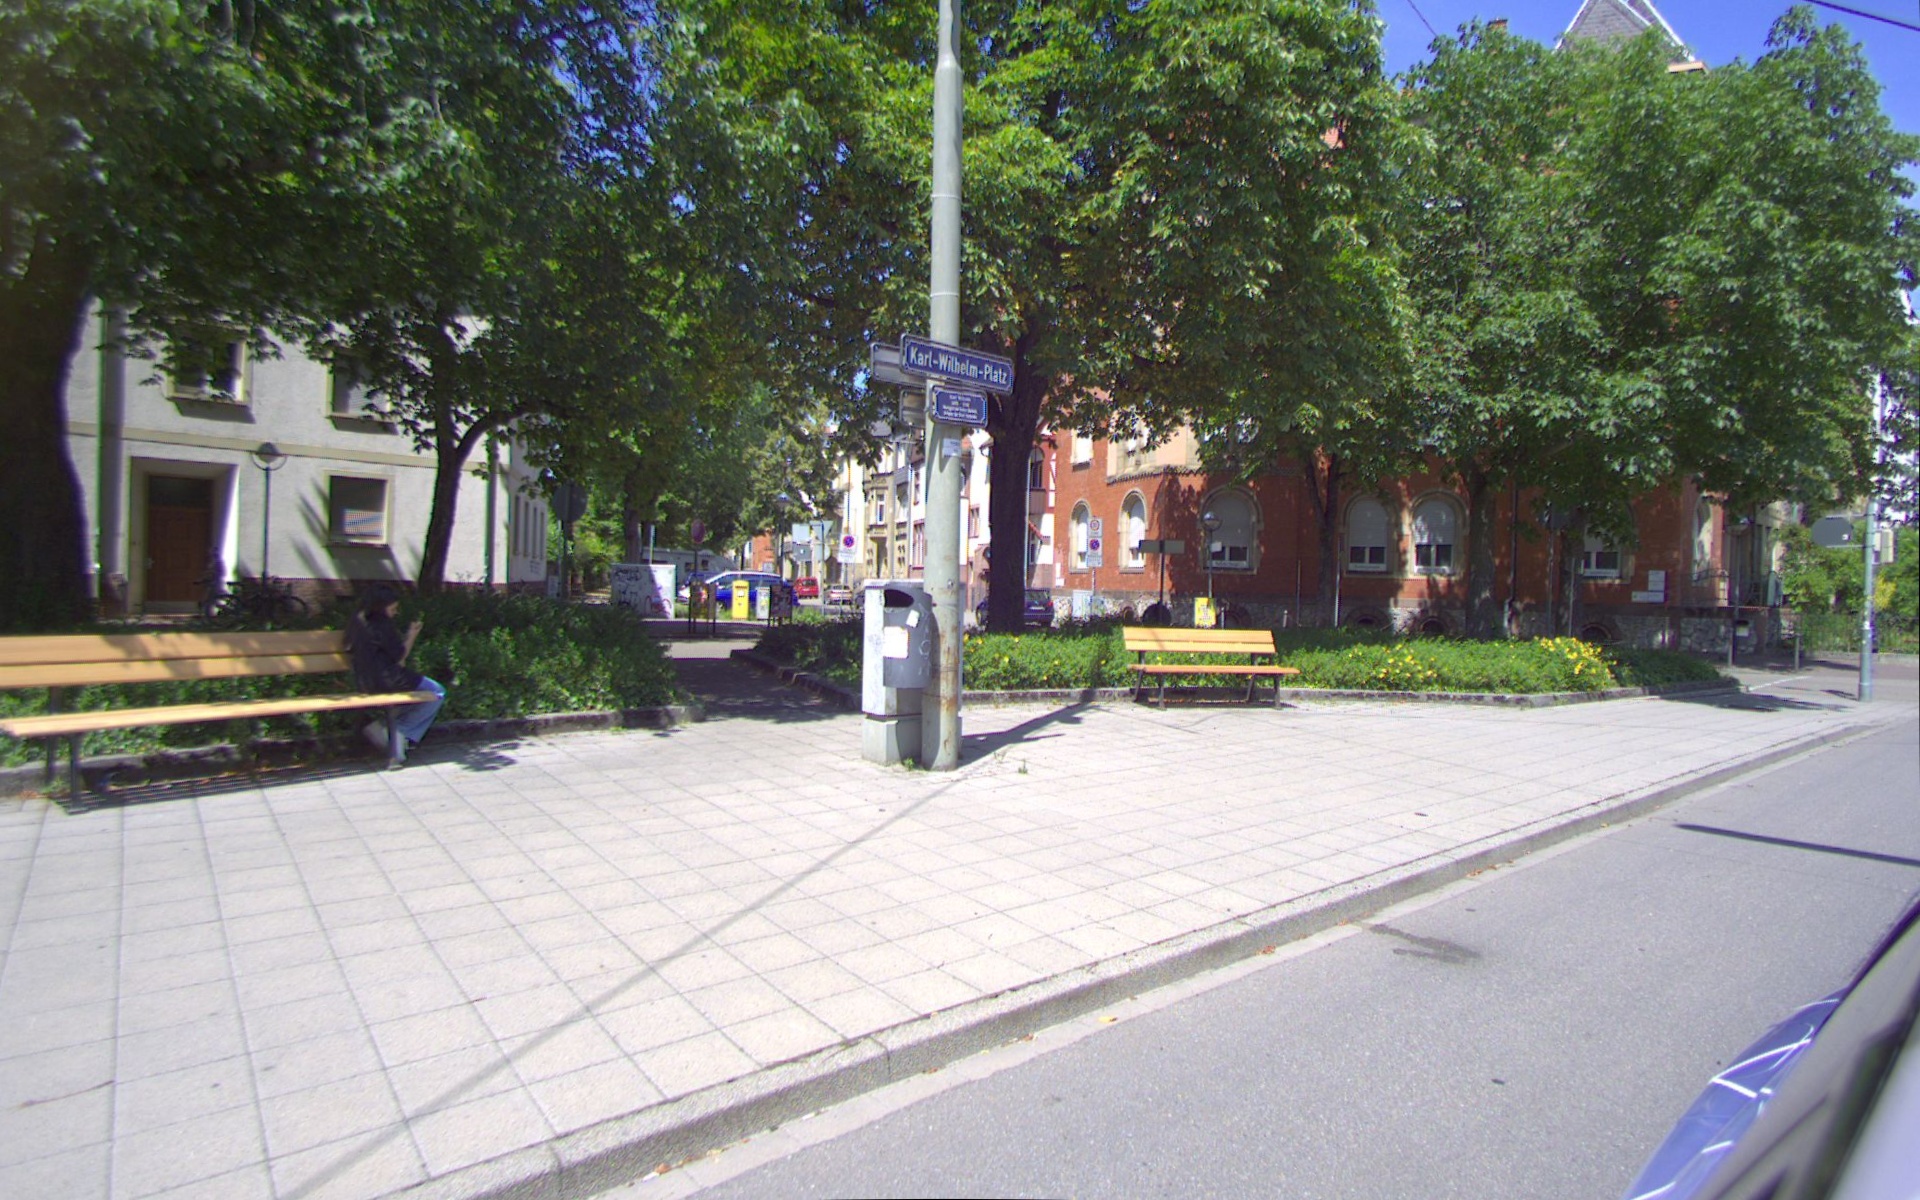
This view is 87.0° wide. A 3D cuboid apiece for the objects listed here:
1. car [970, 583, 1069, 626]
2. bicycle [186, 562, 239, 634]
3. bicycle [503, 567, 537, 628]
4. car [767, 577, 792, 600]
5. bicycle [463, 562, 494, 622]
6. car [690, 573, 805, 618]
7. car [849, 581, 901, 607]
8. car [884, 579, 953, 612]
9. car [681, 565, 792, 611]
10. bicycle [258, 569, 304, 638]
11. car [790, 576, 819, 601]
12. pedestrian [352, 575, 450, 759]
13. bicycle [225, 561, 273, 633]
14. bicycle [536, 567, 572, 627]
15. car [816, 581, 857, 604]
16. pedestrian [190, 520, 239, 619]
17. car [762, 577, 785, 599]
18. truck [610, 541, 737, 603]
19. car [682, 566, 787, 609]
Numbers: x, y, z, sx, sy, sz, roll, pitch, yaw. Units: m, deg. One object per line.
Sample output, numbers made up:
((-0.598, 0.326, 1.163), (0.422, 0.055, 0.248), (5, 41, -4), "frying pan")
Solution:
((2.118, 0.120, 37.412), (1.865, 1.459, 4.769), (0, 1, -21), "car")
((-14.881, -0.061, 20.188), (0.505, 1.361, 2.332), (0, 1, -28), "bicycle")
((-10.090, -0.074, 23.155), (0.536, 1.316, 2.162), (0, 1, -28), "bicycle")
((-16.111, -1.032, 90.178), (1.705, 2.039, 4.009), (0, 1, -16), "car")
((-11.052, -0.191, 23.211), (0.536, 1.316, 2.162), (0, 1, -28), "bicycle")
((-7.654, -0.149, 36.420), (3.807, 1.447, 1.731), (2, 0, -21), "car")
((-5.117, -0.404, 60.402), (1.865, 1.482, 4.625), (0, 1, -21), "car")
((-2.158, -0.256, 50.746), (1.946, 1.551, 5.502), (0, 1, -19), "car")
((-9.108, -0.485, 41.264), (4.176, 1.673, 1.731), (2, 0, -21), "car")
((-13.656, 0.041, 20.396), (0.536, 1.316, 2.162), (0, 1, -28), "bicycle")
((-13.054, -0.982, 84.586), (1.868, 2.039, 4.009), (0, 1, -16), "car")
((-3.603, 0.408, 6.512), (0.469, 1.105, 0.511), (2, 1, -34), "pedestrian")
((-14.324, -0.072, 20.431), (0.505, 1.364, 2.247), (0, 1, -28), "bicycle")
((-9.382, -0.091, 23.348), (0.536, 1.316, 2.162), (0, 1, -28), "bicycle")
((-8.722, -0.530, 71.349), (1.865, 1.575, 4.411), (0, 1, -21), "car")
((-15.836, -0.638, 21.519), (0.758, 2.039, 0.808), (0, 0, -31), "pedestrian")
((-17.549, -1.115, 95.325), (1.777, 2.039, 3.675), (0, 1, -16), "car")
((-16.126, -1.523, 57.028), (6.685, 3.193, 1.939), (2, 0, -19), "truck")
((-9.830, -0.539, 44.092), (4.176, 1.673, 1.731), (2, 0, -21), "car")
